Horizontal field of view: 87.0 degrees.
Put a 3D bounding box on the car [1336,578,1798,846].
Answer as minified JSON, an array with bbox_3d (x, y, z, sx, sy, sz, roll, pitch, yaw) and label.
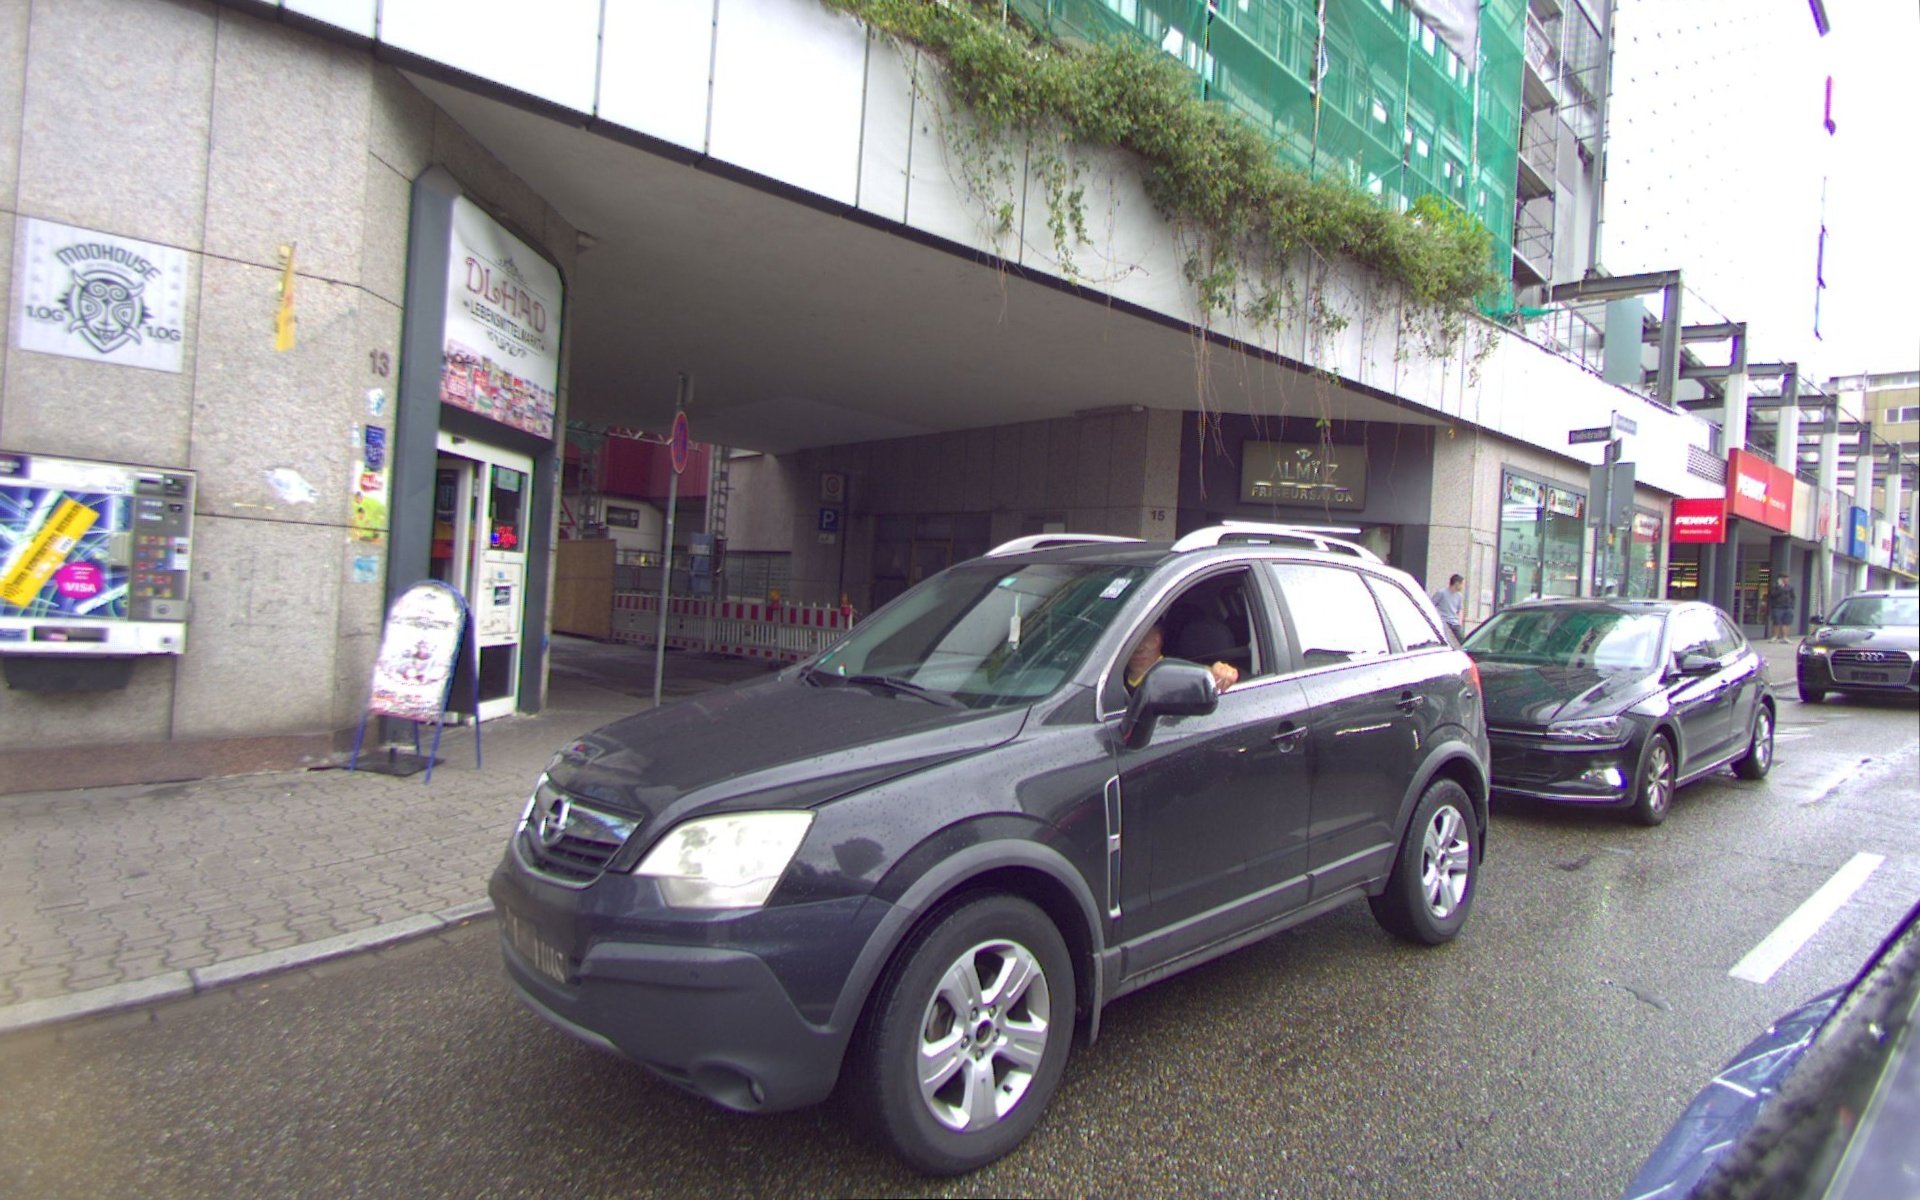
[{"bbox_3d":[4.783,0.655,7.740,4.088,1.523,1.759,1,0,-39],"label":"car"}]

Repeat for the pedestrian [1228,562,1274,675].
[{"bbox_3d":[4.251,0.263,14.786,0.630,1.615,0.574,0,1,17],"label":"pedestrian"}]

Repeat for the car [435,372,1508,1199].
[{"bbox_3d":[0.398,0.461,3.995,4.090,1.788,1.763,1,0,-41],"label":"car"}]

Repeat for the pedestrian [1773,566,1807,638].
[{"bbox_3d":[20.178,0.035,24.607,0.570,1.699,0.509,-1,3,-42],"label":"pedestrian"}]

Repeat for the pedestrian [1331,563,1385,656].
[{"bbox_3d":[7.300,0.156,18.584,0.568,1.647,0.677,-1,3,-34],"label":"pedestrian"}]

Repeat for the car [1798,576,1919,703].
[{"bbox_3d":[13.657,0.480,14.469,4.089,1.628,1.841,-1,1,-39],"label":"car"}]

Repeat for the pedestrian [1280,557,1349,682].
[{"bbox_3d":[5.383,0.279,15.408,0.730,1.838,0.773,2,2,3],"label":"pedestrian"}]

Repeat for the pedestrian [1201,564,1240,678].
[{"bbox_3d":[4.014,0.309,15.607,0.474,1.729,0.467,0,0,1],"label":"pedestrian"}]

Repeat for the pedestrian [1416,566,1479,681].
[{"bbox_3d":[7.300,0.335,15.158,0.721,1.663,0.637,-1,1,-44],"label":"pedestrian"}]
